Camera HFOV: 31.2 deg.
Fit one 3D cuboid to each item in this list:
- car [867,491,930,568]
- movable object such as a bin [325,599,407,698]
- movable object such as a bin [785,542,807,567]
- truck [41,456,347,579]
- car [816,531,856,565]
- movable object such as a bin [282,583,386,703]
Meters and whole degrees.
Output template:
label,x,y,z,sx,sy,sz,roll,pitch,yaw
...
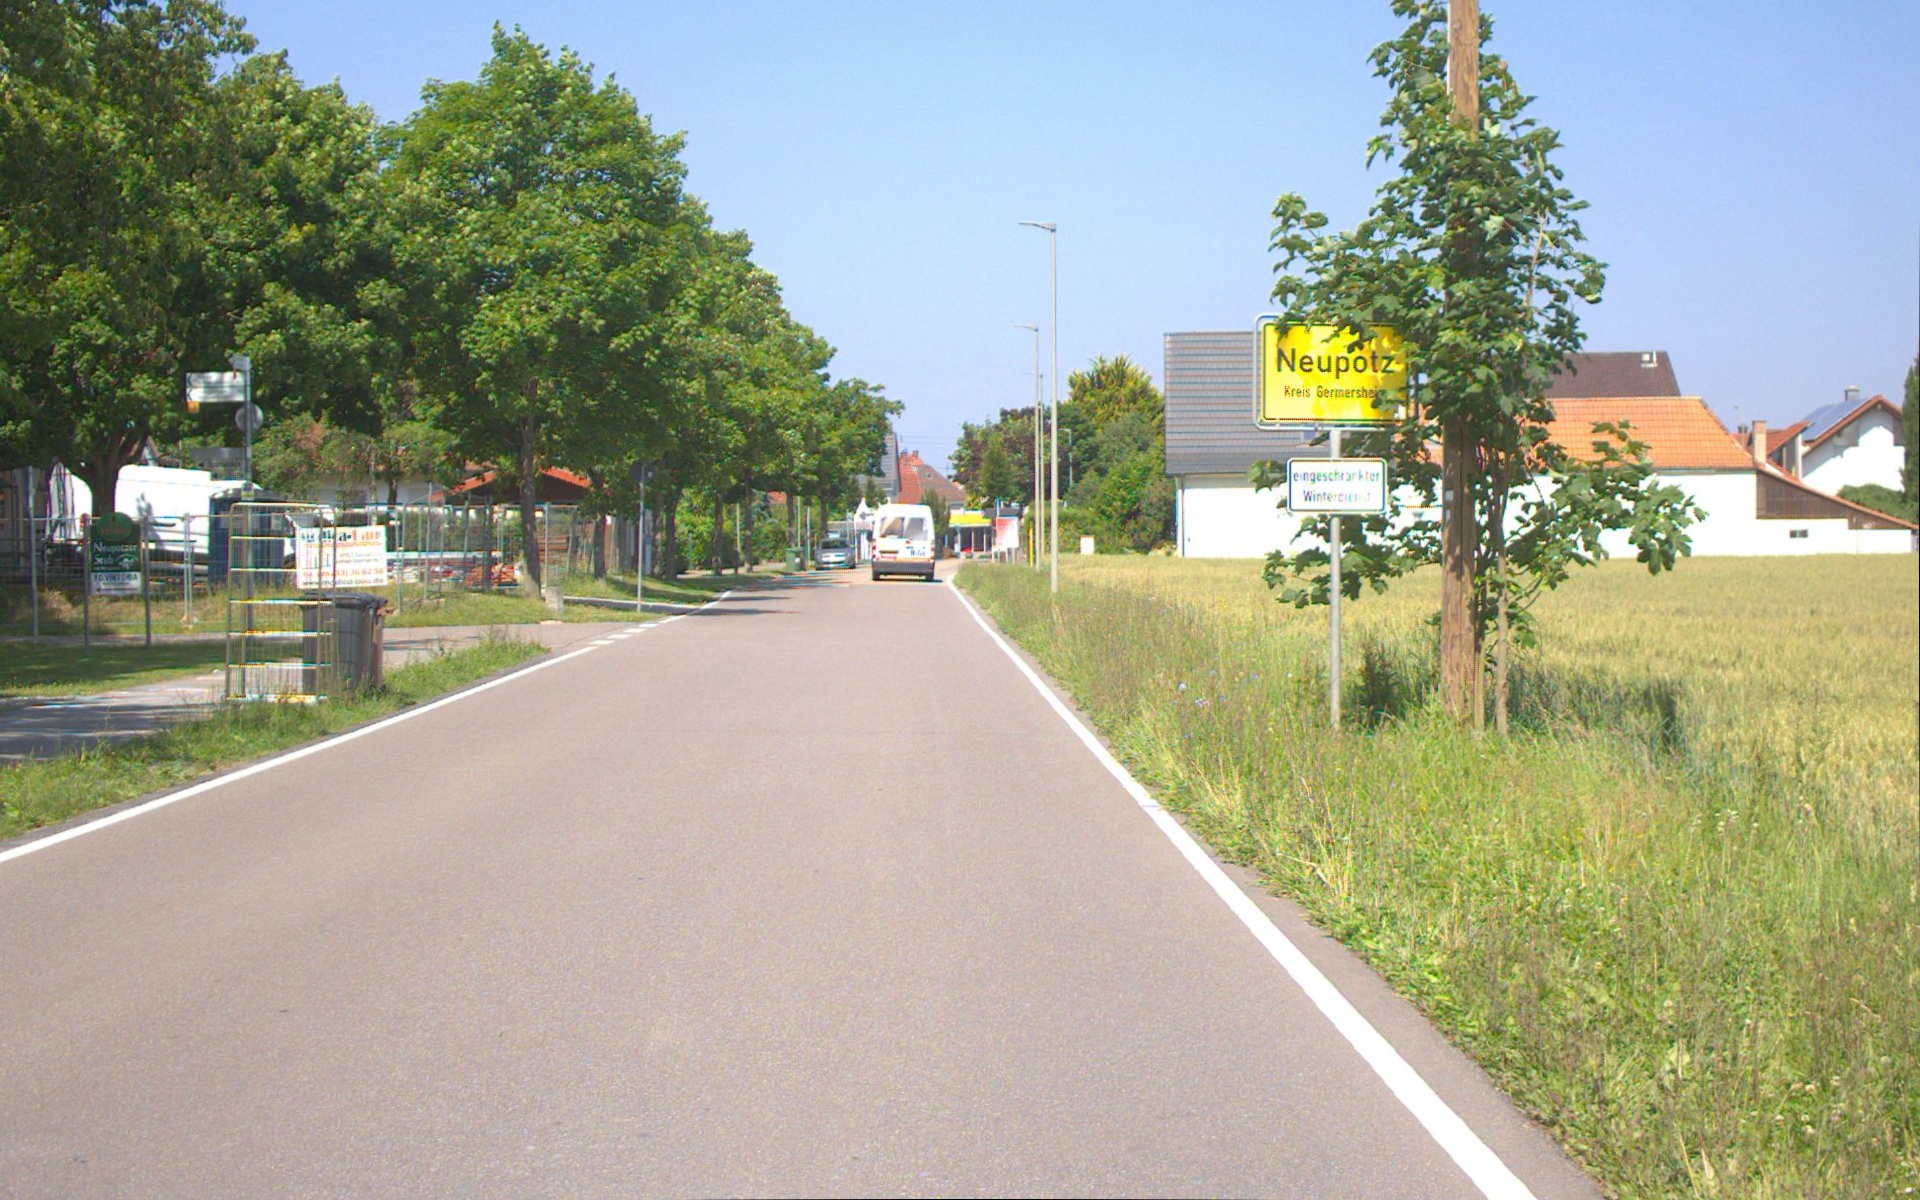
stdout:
label,x,y,z,sx,sy,sz,roll,pitch,yaw
car,-1.973,-2.287,111.440,1.738,2.424,4.374,-1,1,2
movable object such as a bin,-5.391,0.438,31.232,0.562,0.874,0.613,-1,1,7
movable object such as a bin,-7.217,-1.994,151.141,0.714,1.075,0.639,0,1,27
truck,-15.907,-1.683,71.583,5.914,2.475,2.000,-1,1,-37
car,-5.629,-2.375,156.679,1.647,1.419,4.080,-3,1,-1
movable object such as a bin,-5.546,0.376,30.474,0.699,1.020,0.748,-1,1,7
